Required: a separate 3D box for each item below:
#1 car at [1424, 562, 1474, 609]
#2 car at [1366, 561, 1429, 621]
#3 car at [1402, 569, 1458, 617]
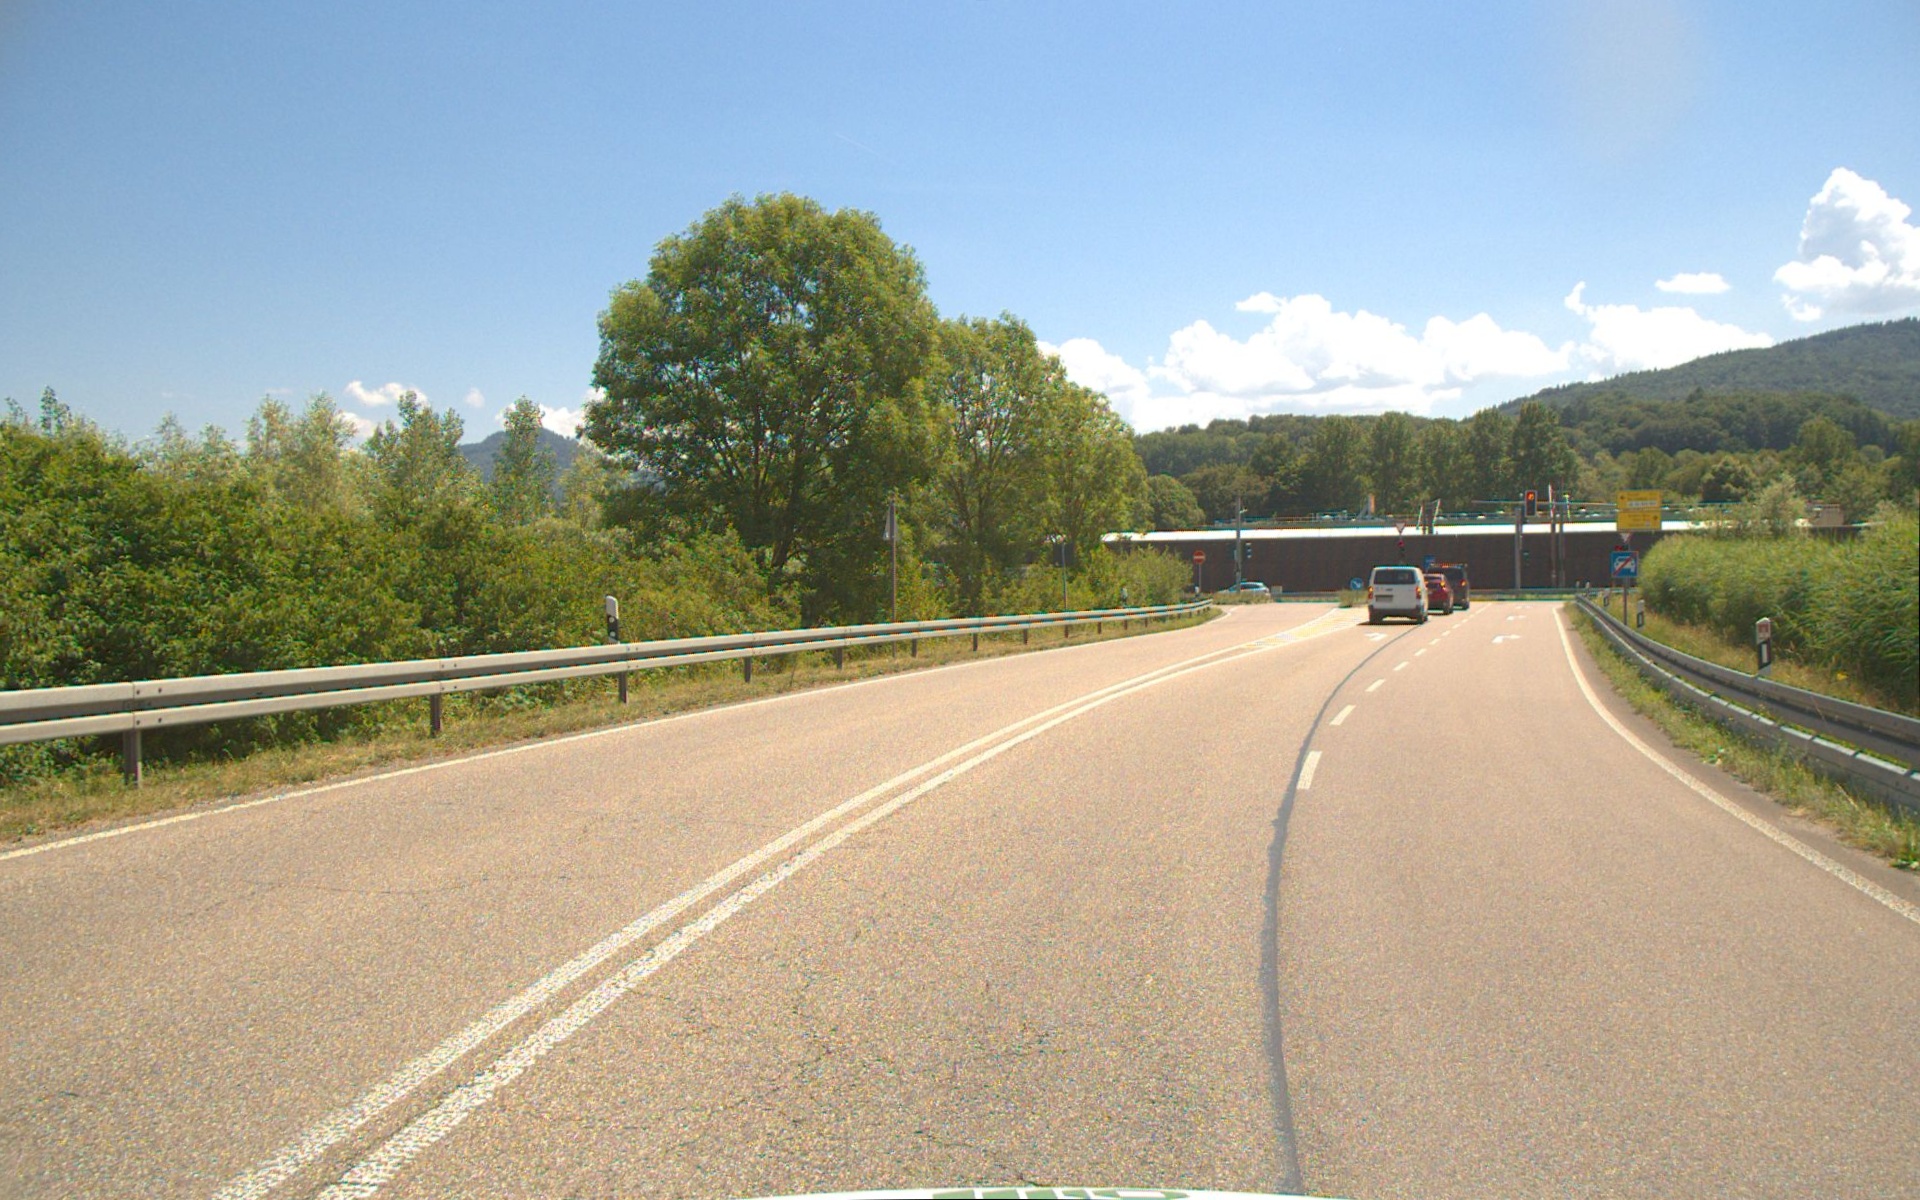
[{"bbox_3d":[22.617,-0.675,76.437,1.952,2.048,4.001,-2,0,20],"label":"car"},{"bbox_3d":[15.244,-0.339,57.507,1.831,1.999,4.001,0,1,19],"label":"car"},{"bbox_3d":[19.533,-0.312,68.634,1.952,1.844,4.001,-2,0,20],"label":"car"}]
